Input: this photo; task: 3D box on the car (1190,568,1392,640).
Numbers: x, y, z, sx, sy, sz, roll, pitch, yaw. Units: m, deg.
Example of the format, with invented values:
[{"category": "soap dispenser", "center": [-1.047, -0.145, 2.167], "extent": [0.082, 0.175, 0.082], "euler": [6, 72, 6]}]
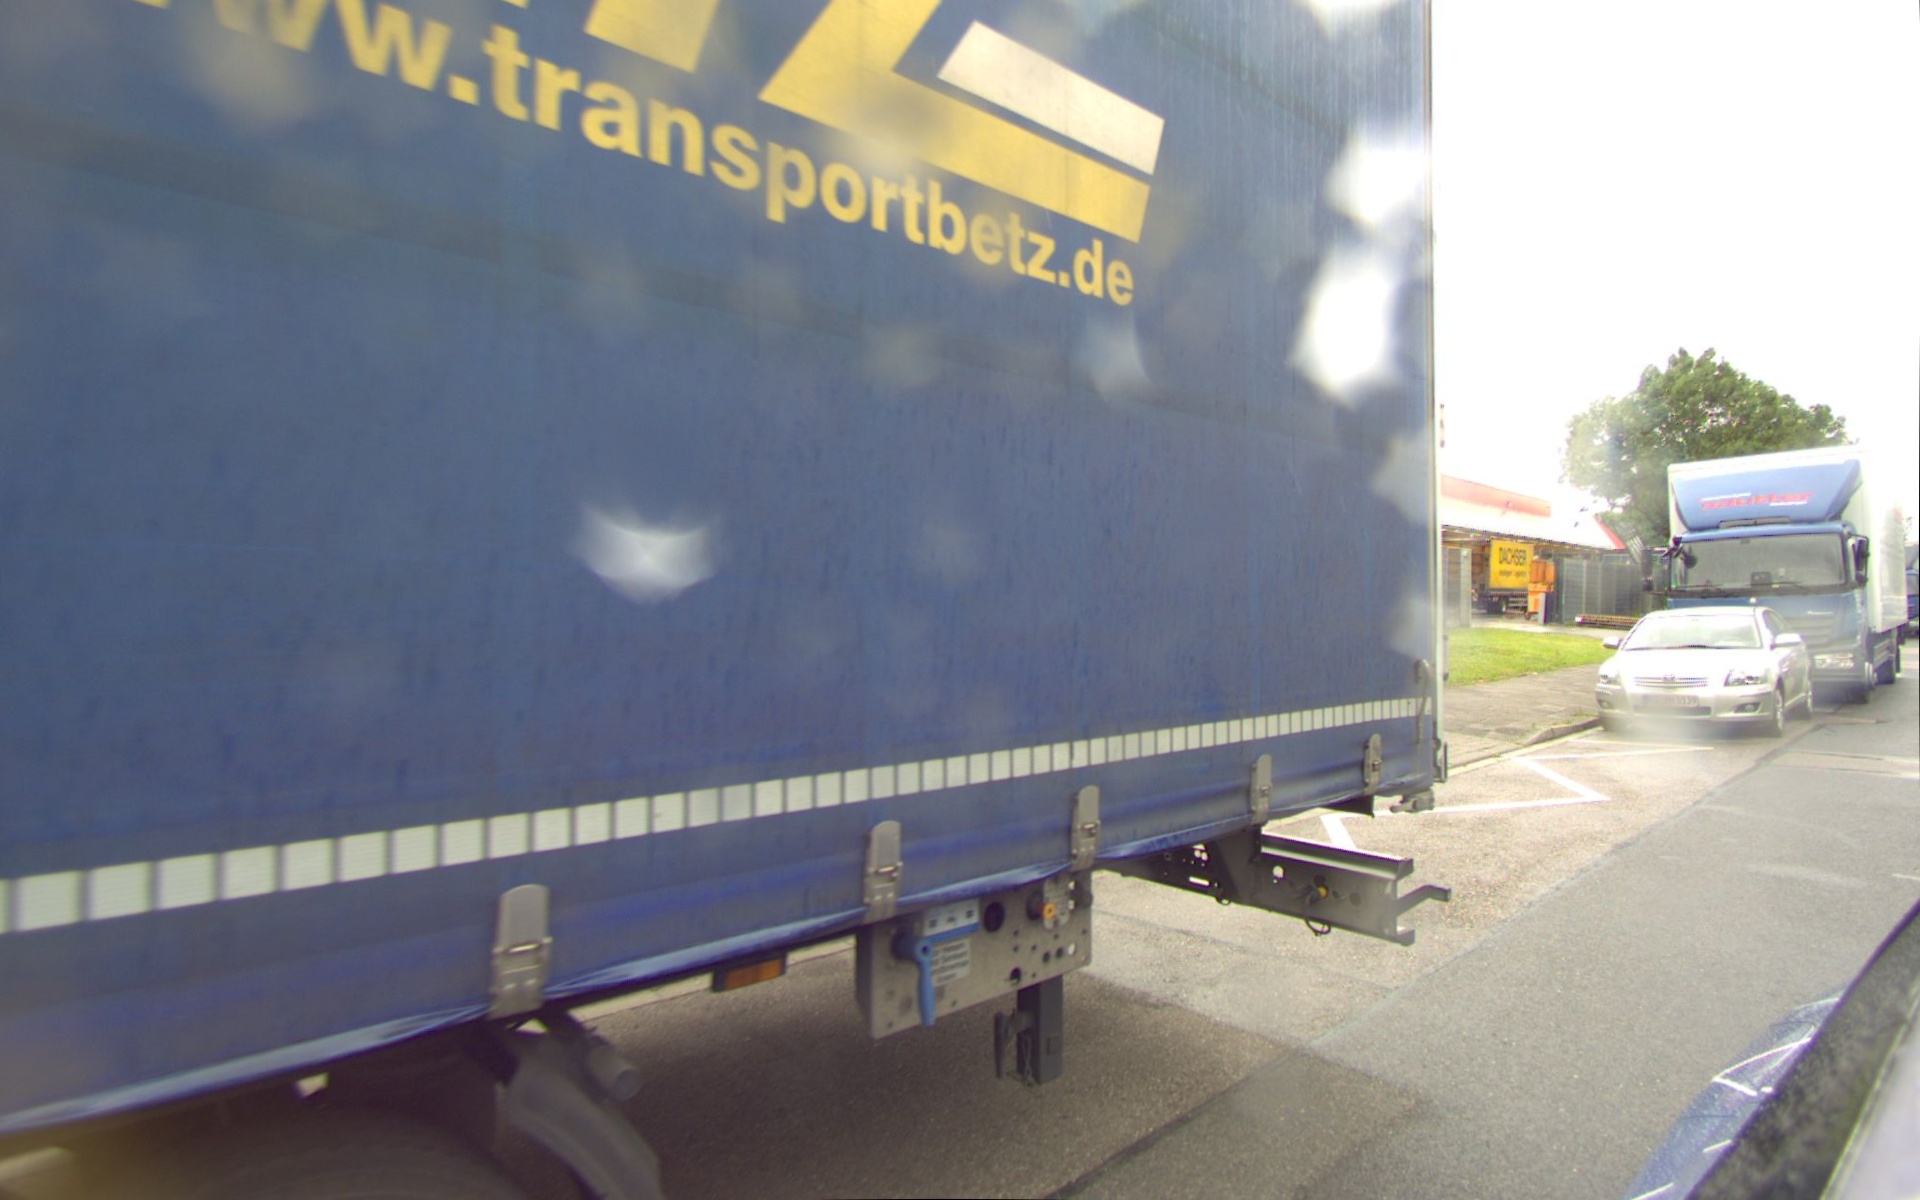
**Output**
[{"category": "car", "center": [7.368, 0.063, 22.799], "extent": [3.925, 1.488, 1.775], "euler": [1, 1, 2]}]

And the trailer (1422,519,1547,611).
[{"category": "trailer", "center": [26.895, -1.728, 51.632], "extent": [2.968, 4.295, 9.319], "euler": [2, 2, 45]}]

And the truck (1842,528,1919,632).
[{"category": "truck", "center": [36.820, -0.723, 39.715], "extent": [7.879, 3.739, 2.672], "euler": [0, -1, -45]}]

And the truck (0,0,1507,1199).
[{"category": "truck", "center": [-2.120, -0.395, 1.558], "extent": [7.616, 3.657, 2.744], "euler": [0, -1, -42]}]

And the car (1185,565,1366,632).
[{"category": "car", "center": [7.796, -0.057, 25.292], "extent": [3.925, 1.546, 1.873], "euler": [1, 1, 1]}]

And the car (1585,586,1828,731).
[{"category": "car", "center": [9.376, 0.575, 12.563], "extent": [4.274, 1.459, 1.798], "euler": [-1, 2, -45]}]

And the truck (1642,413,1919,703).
[{"category": "truck", "center": [14.629, -0.563, 17.579], "extent": [9.146, 3.838, 2.742], "euler": [0, -1, -44]}]

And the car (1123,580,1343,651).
[{"category": "car", "center": [5.362, 0.281, 20.279], "extent": [3.925, 1.302, 1.706], "euler": [1, 1, 2]}]
